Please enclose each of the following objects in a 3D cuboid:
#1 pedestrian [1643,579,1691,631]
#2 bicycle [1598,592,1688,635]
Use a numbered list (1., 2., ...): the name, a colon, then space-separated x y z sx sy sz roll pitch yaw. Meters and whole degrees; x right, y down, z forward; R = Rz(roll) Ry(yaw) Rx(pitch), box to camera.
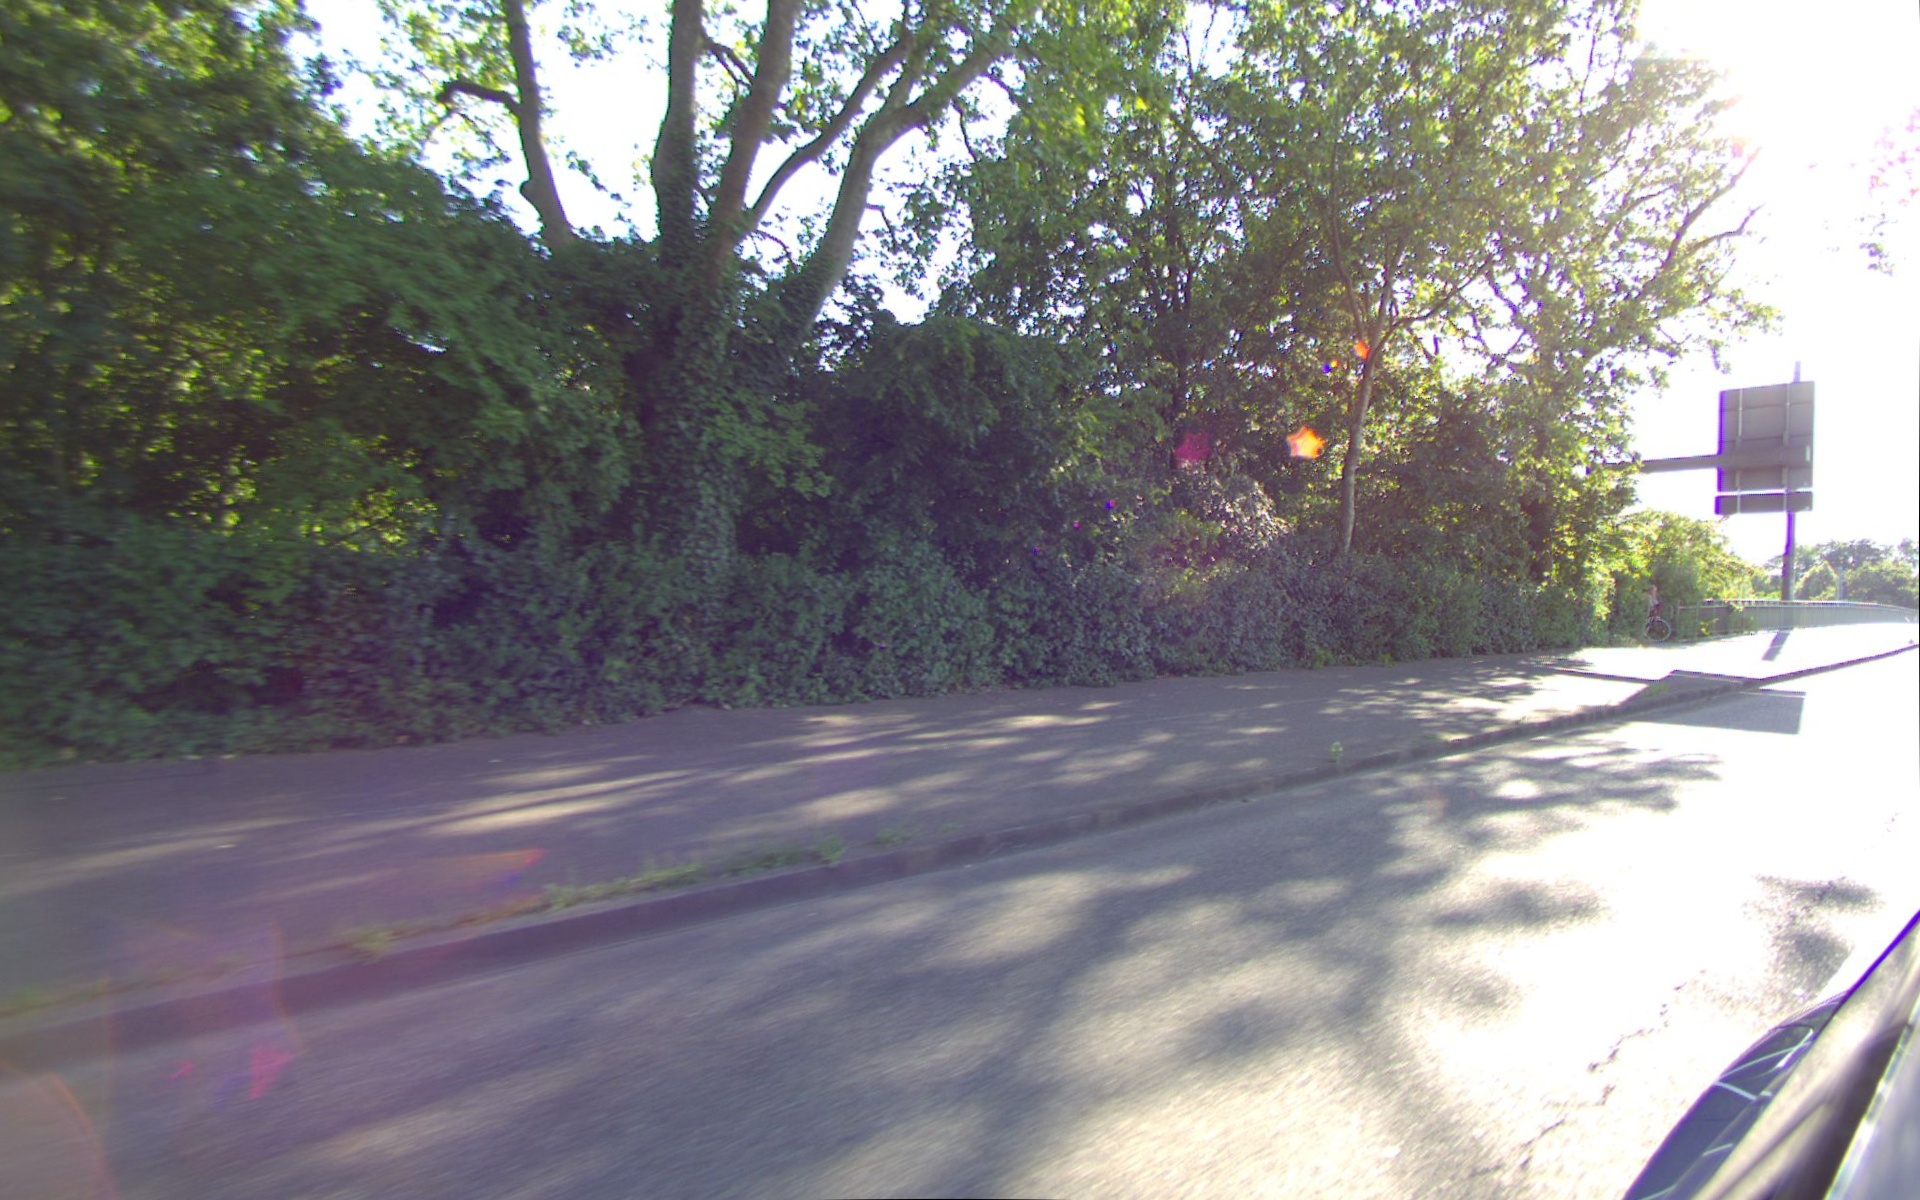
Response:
1. pedestrian: 20.051 0.134 28.694 0.790 1.412 0.815 1 1 -27
2. bicycle: 19.449 0.365 28.855 0.614 1.136 2.045 1 2 -28
